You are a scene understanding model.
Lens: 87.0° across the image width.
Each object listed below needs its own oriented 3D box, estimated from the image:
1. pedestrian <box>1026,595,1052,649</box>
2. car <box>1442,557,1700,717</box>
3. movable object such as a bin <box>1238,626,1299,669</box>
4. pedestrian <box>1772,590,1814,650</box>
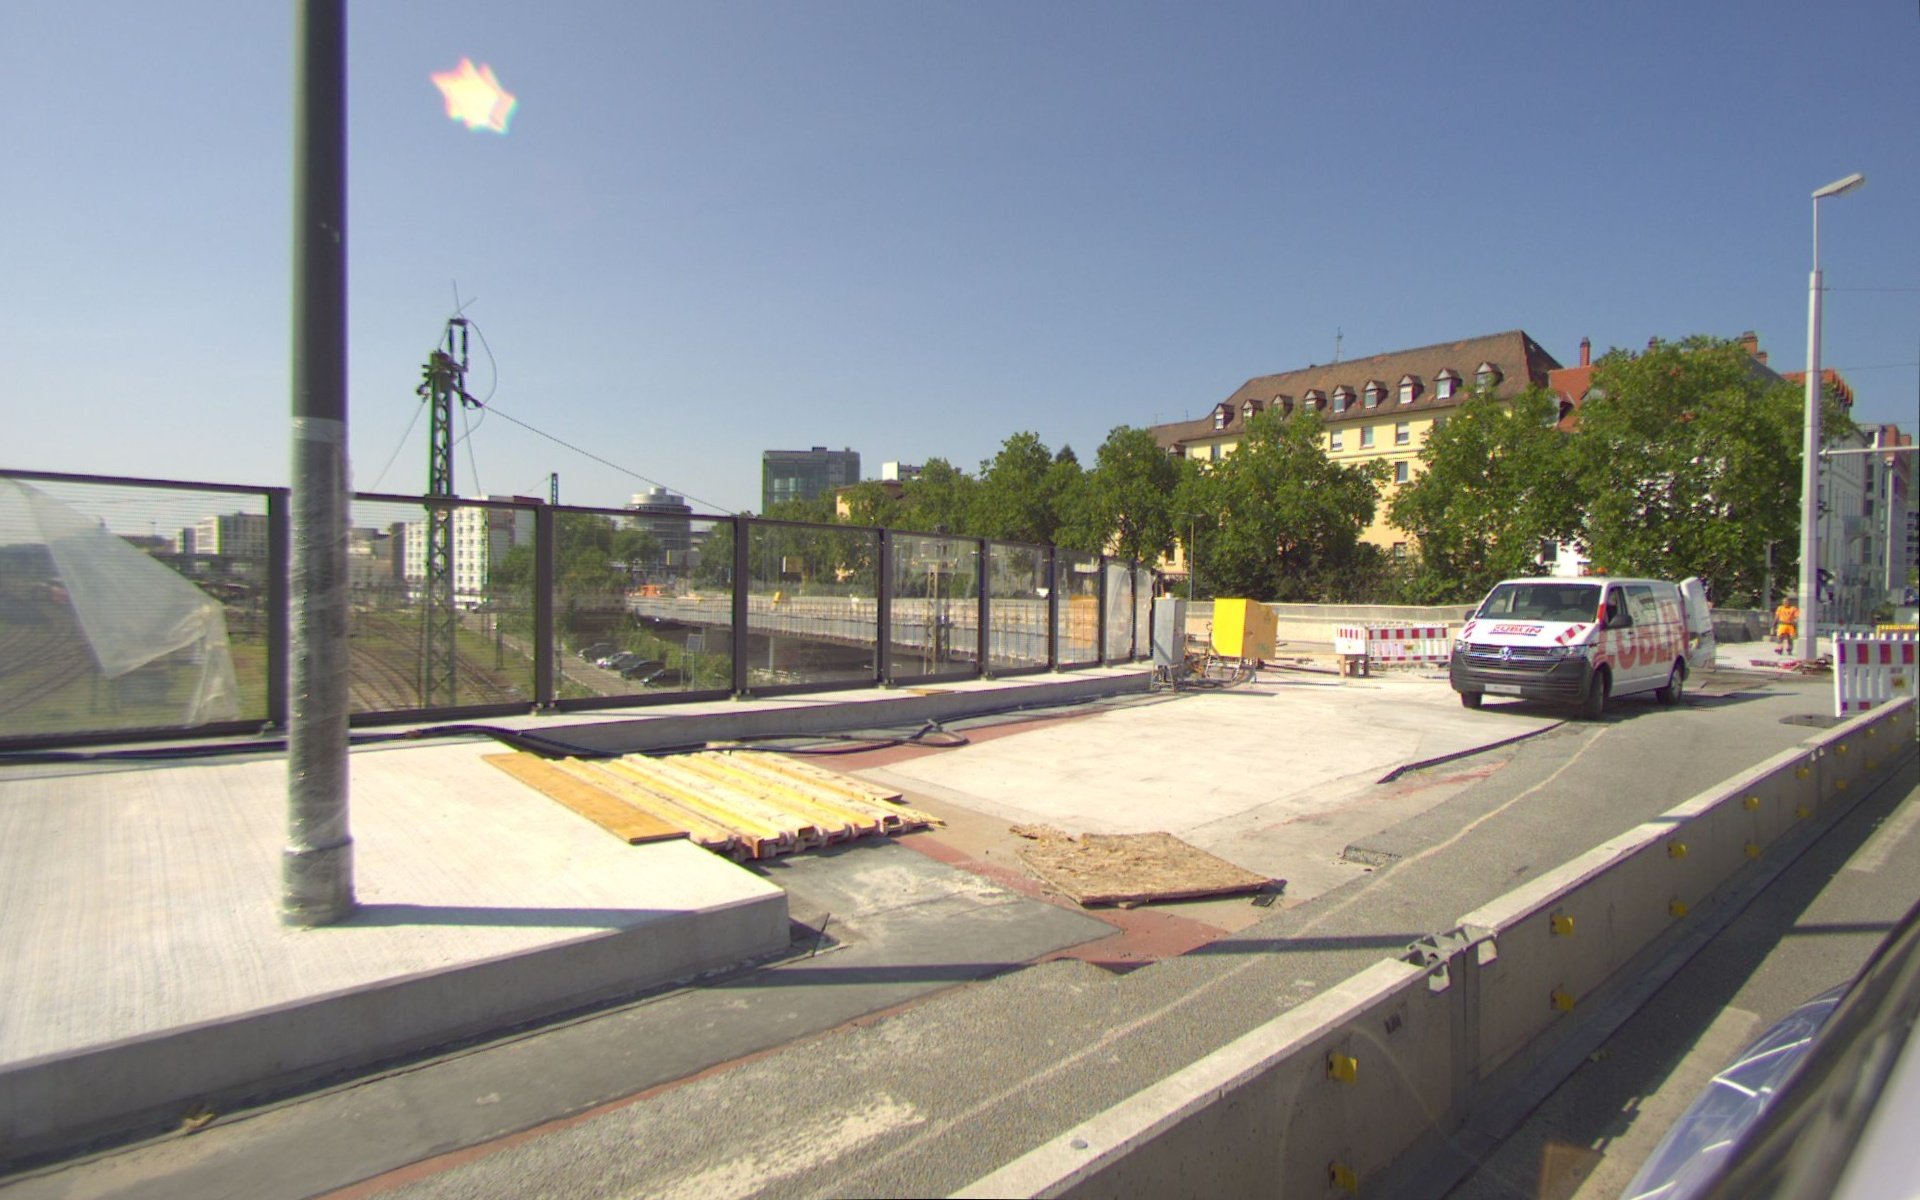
[{"bbox_3d":[3.518,0.969,45.064,0.867,2.363,0.792,-4,-3,24],"label":"pedestrian"},{"bbox_3d":[9.348,0.471,15.307,4.803,2.059,1.882,0,0,-40],"label":"car"},{"bbox_3d":[7.024,1.069,23.076,1.083,0.853,0.757,4,0,-1],"label":"movable object such as a bin"},{"bbox_3d":[25.916,0.612,31.498,0.849,1.817,0.821,1,2,-42],"label":"pedestrian"}]
